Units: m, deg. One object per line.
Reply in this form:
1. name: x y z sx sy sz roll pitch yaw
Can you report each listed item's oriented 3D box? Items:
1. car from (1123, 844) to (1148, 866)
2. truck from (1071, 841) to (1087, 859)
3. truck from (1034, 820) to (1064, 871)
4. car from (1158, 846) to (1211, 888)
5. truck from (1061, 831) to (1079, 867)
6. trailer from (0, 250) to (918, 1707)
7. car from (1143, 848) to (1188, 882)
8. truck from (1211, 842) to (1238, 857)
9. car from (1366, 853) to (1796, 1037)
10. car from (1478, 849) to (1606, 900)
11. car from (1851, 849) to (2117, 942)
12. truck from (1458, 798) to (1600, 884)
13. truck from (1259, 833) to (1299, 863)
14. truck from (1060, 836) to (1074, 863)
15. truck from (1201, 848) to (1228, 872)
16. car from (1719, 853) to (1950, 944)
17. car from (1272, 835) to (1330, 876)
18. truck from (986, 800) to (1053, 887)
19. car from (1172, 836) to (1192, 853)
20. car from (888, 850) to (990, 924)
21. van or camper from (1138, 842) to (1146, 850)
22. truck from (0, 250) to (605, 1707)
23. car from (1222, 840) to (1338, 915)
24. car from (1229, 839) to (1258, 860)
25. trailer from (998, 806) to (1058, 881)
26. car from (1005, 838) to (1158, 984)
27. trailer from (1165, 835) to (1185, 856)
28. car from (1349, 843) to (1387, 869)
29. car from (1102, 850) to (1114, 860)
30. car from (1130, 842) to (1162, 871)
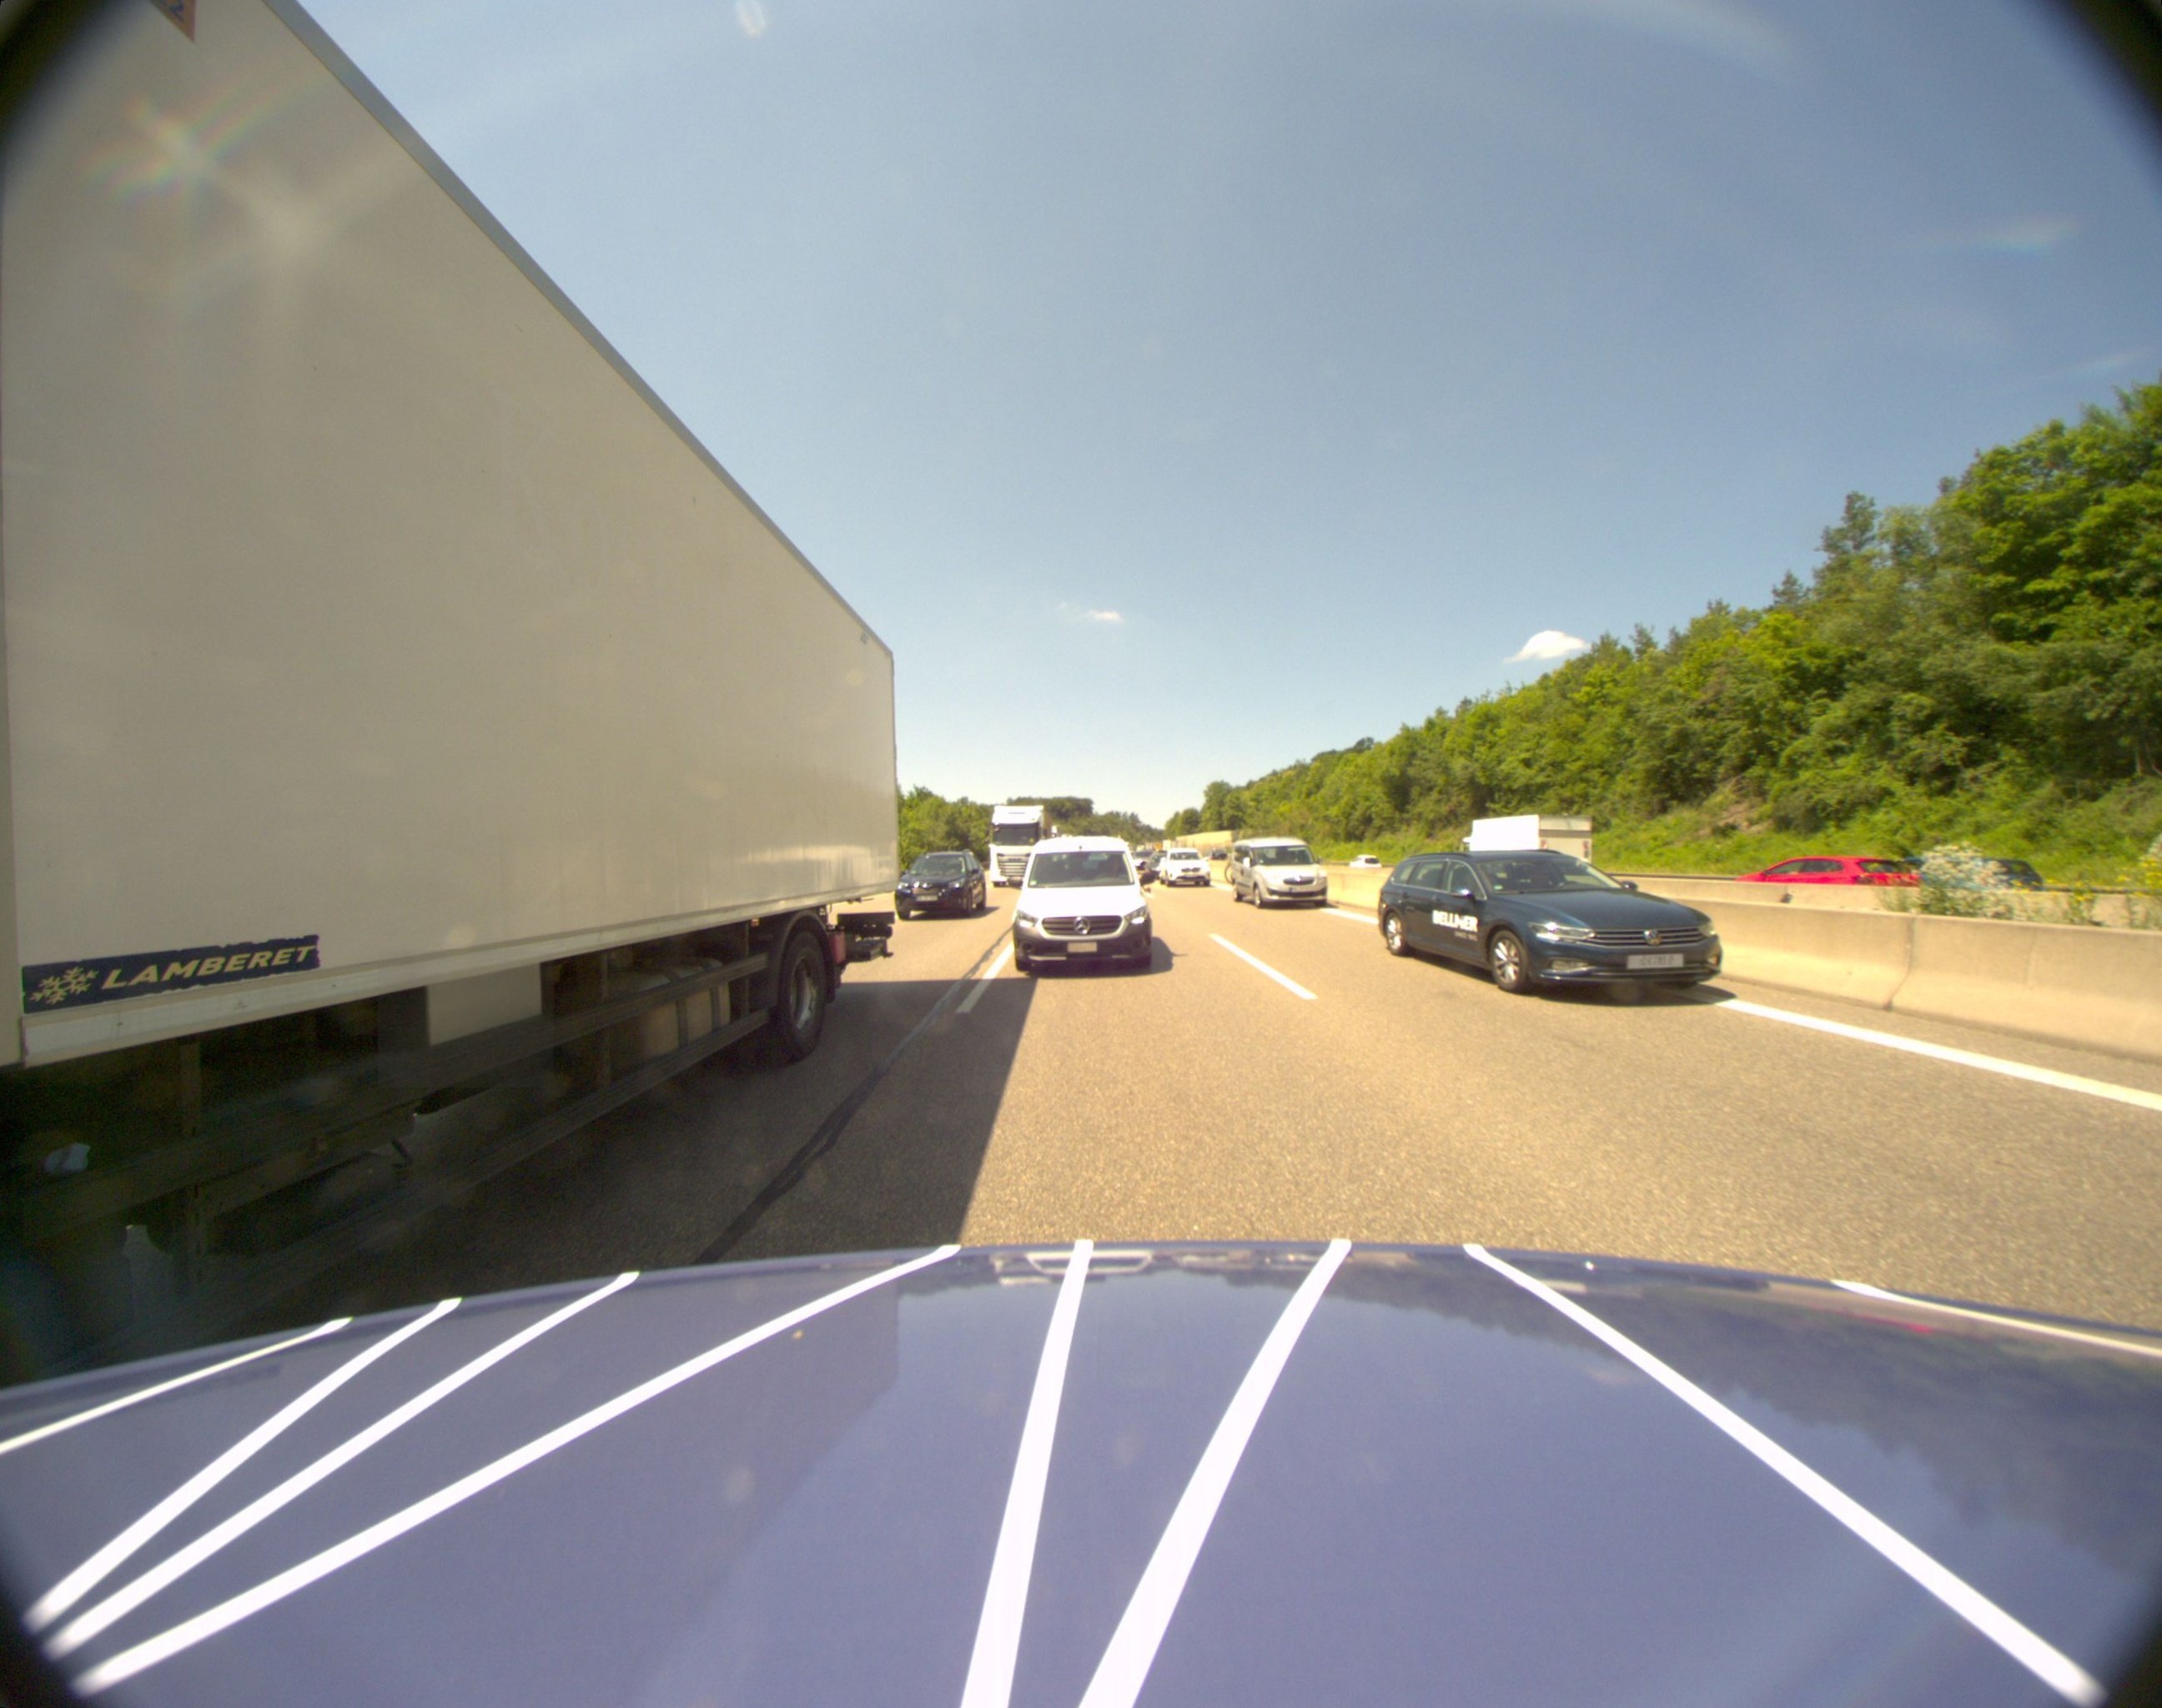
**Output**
1. car: 5.383 0.105 74.974 1.999 2.002 3.998 -2 1 -2
2. truck: -0.553 -1.085 198.461 4.084 4.403 11.396 -2 0 -1
3. truck: -2.902 -0.706 71.820 2.394 4.438 10.868 -2 0 0
4. car: 4.586 0.522 34.040 1.824 1.696 3.999 -2 1 0
5. truck: -1.455 -0.641 100.535 2.187 4.438 10.868 -2 0 0
6. trailer: -3.346 0.247 5.238 2.562 2.882 7.881 -2 0 1
7. car: 4.780 0.581 43.463 1.999 1.747 3.998 -2 1 -2
8. truck: 20.134 -0.634 106.891 2.357 2.002 6.490 -2 1 -1
9. car: 5.099 0.768 8.743 1.879 1.442 4.677 -2 1 0
10. car: 15.619 0.629 26.010 1.998 1.511 3.999 -2 1 1
11. car: 22.561 0.935 19.283 1.999 2.002 3.999 -2 1 0
12. truck: 22.995 -0.686 39.630 2.699 3.967 7.988 -2 1 1
13. truck: 19.908 -0.639 76.846 2.183 2.868 6.740 -2 1 0
14. truck: -2.200 -0.689 122.405 2.187 4.073 10.868 -2 0 0
15. truck: 11.497 0.487 65.521 1.704 1.936 4.000 -1 0 1
16. car: 19.249 1.034 19.716 1.999 2.002 3.999 -2 1 0
17. car: 11.713 0.027 40.749 1.998 2.002 3.999 -2 1 1
18. truck: -3.071 -0.563 39.979 2.766 4.061 7.332 -2 1 1
19. car: 12.523 -1.188 94.550 1.998 2.002 4.957 -2 1 3
20. car: -3.663 0.770 20.429 1.999 1.682 4.609 0 1 -2
21. van or camper: 18.859 -2.392 234.713 1.998 2.371 4.808 4 1 3
22. truck: -3.381 0.305 1.184 2.562 2.924 4.103 -1 1 1
23. car: 5.311 0.524 20.974 1.857 1.762 4.916 -2 1 0
24. car: 16.135 -0.465 75.574 1.998 2.002 4.418 -2 1 1
25. trailer: -3.027 -0.683 46.598 2.766 4.061 11.614 0 1 0
26. car: 0.040 0.626 11.174 1.756 1.681 4.363 -2 1 1
27. trailer: 20.561 -1.952 167.256 2.956 4.456 10.814 -2 1 0
28. car: 23.631 0.130 62.690 1.856 2.002 3.512 -2 1 1
29. car: 4.856 0.237 136.891 1.803 1.660 4.000 -1 0 -1
30. car: 4.663 0.221 55.166 1.998 2.001 4.001 -1 -1 1
